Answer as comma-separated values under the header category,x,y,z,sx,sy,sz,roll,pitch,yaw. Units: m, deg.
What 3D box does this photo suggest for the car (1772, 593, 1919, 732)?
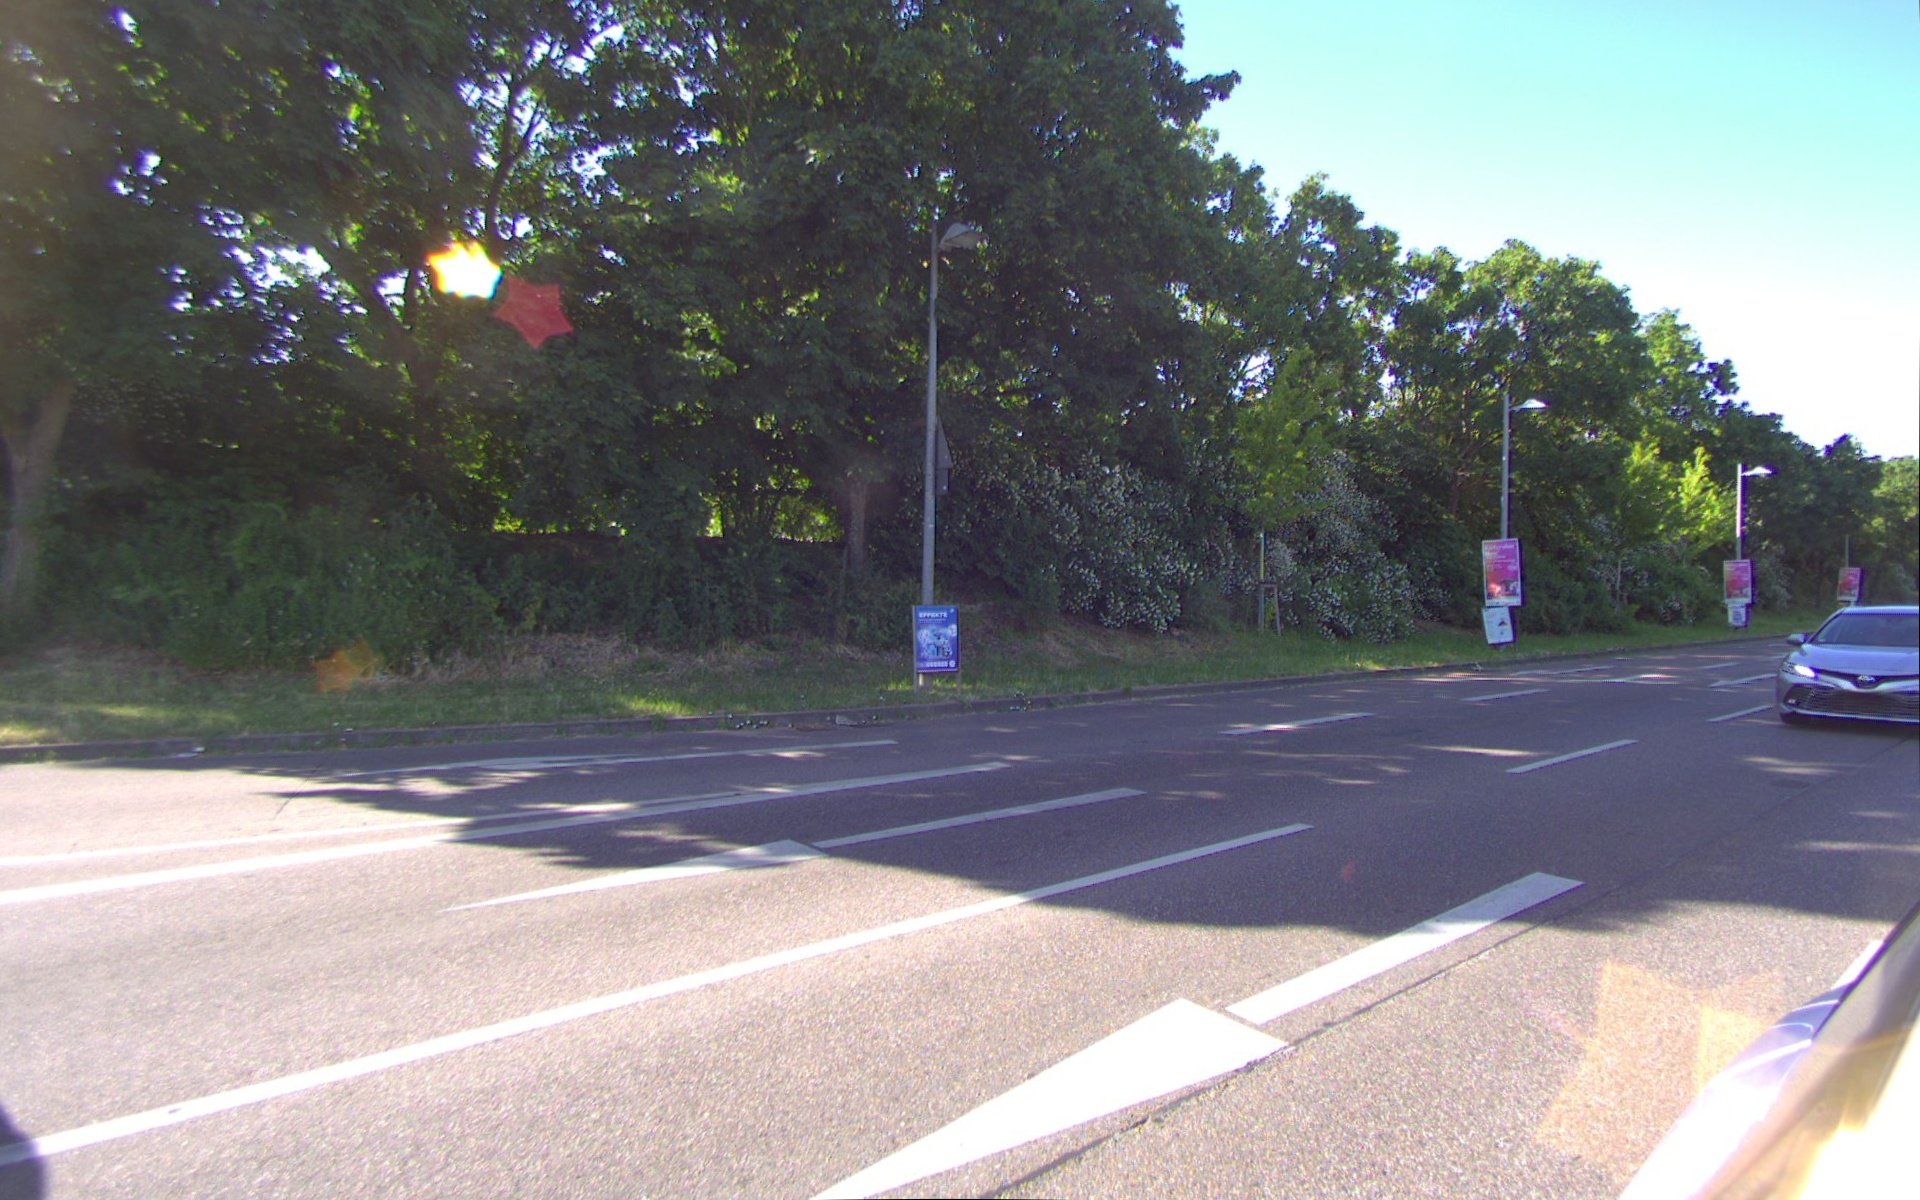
category,x,y,z,sx,sy,sz,roll,pitch,yaw
car,11.836,0.669,12.553,4.512,1.454,1.875,0,1,-40
